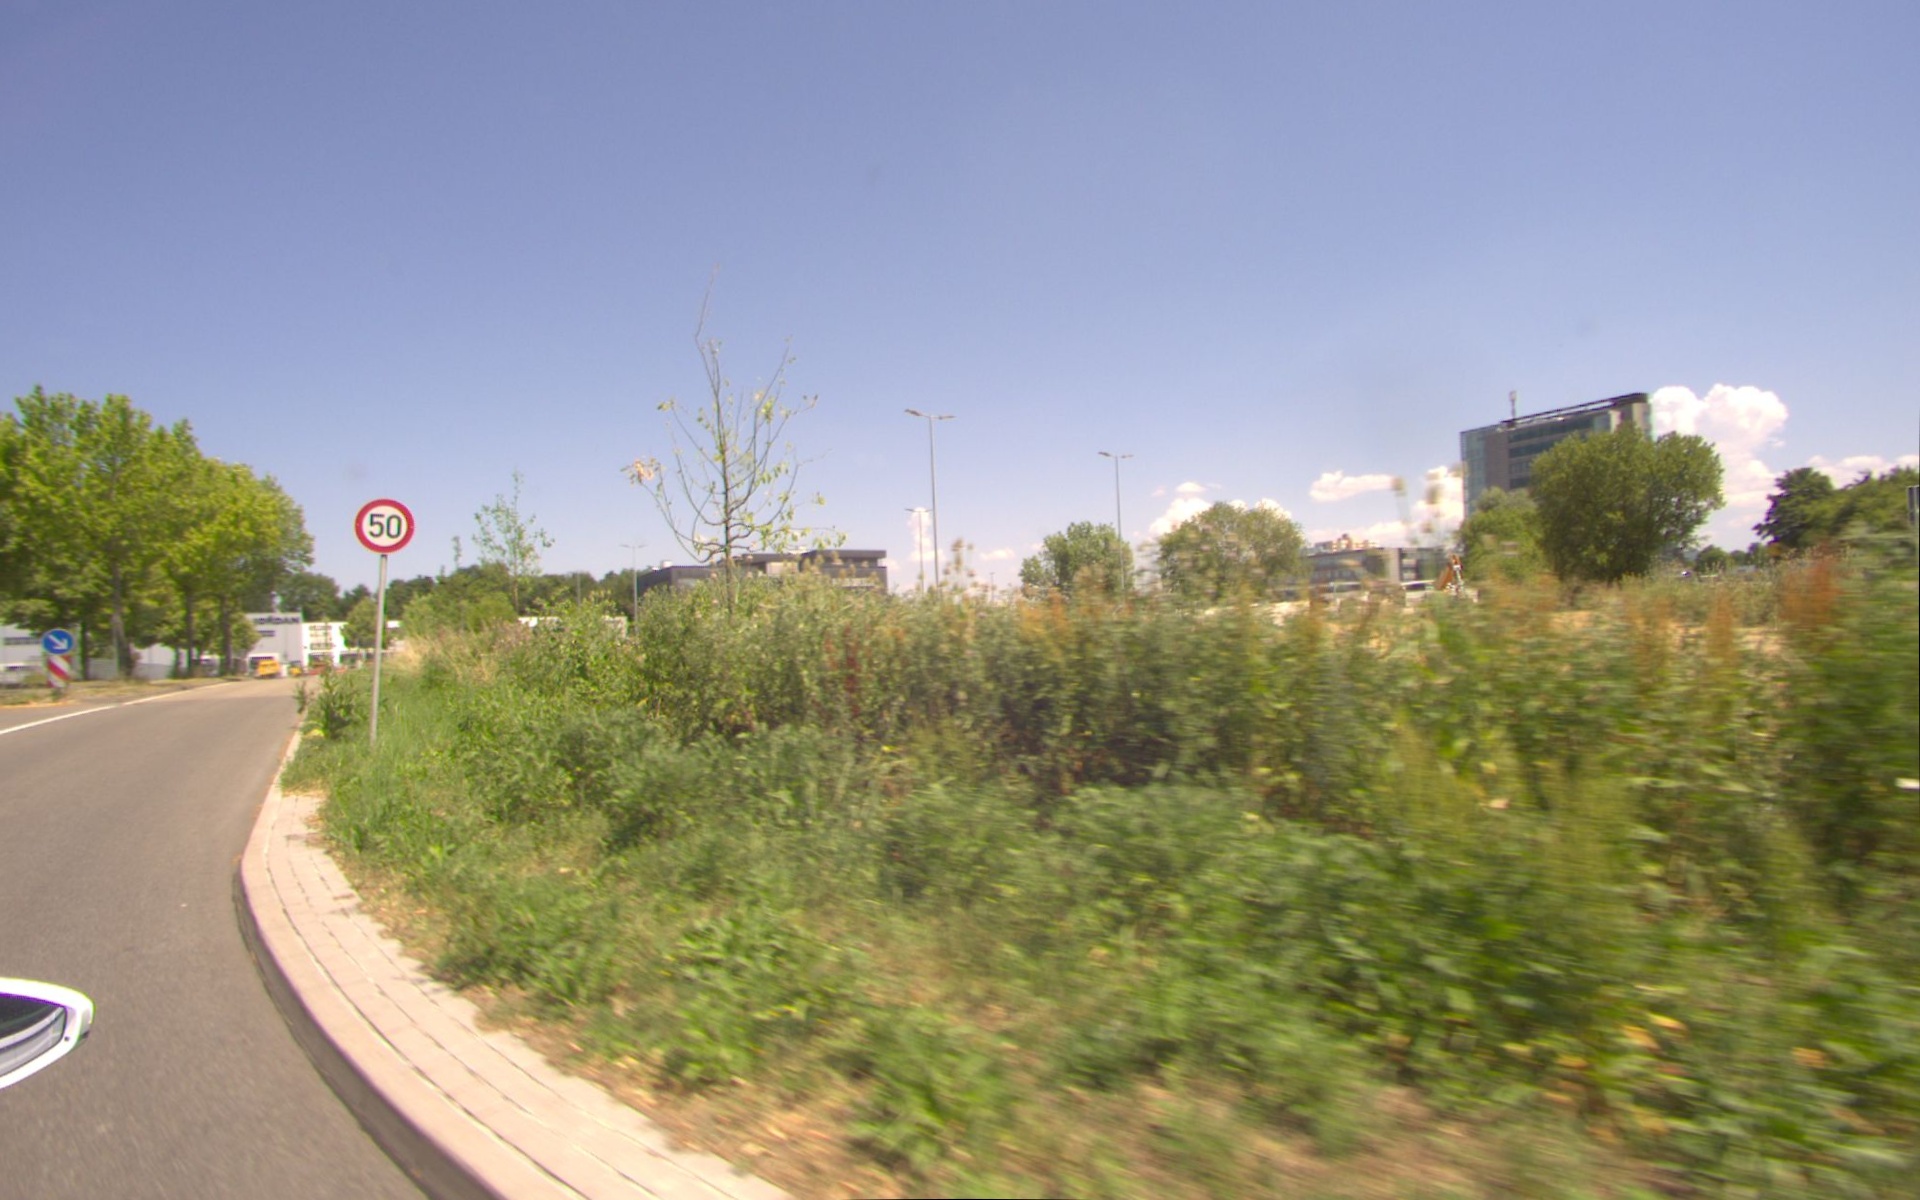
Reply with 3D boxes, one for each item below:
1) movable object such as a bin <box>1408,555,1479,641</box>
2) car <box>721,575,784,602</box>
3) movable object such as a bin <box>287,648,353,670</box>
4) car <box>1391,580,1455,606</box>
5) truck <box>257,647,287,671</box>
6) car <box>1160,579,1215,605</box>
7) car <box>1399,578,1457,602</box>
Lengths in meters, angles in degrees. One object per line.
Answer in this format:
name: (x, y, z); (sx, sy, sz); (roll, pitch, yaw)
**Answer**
movable object such as a bin: (25.003, -0.202, 52.074); (2.938, 4.100, 8.076); (-1, 2, 23)
car: (-14.835, -0.807, 71.687); (3.943, 1.662, 1.918); (-2, -2, -32)
movable object such as a bin: (-92.957, 8.551, 145.589); (7.426, 2.534, 3.652); (-3, 2, -23)
car: (32.486, -0.477, 70.332); (3.938, 1.549, 1.869); (-4, -1, 26)
truck: (-97.751, 8.393, 142.250); (2.913, 2.926, 5.760); (-4, 2, -39)
car: (16.495, -0.596, 72.454); (3.958, 1.662, 1.981); (-4, 2, -43)
car: (36.242, -0.741, 77.514); (3.938, 1.549, 1.869); (-4, -1, 26)
